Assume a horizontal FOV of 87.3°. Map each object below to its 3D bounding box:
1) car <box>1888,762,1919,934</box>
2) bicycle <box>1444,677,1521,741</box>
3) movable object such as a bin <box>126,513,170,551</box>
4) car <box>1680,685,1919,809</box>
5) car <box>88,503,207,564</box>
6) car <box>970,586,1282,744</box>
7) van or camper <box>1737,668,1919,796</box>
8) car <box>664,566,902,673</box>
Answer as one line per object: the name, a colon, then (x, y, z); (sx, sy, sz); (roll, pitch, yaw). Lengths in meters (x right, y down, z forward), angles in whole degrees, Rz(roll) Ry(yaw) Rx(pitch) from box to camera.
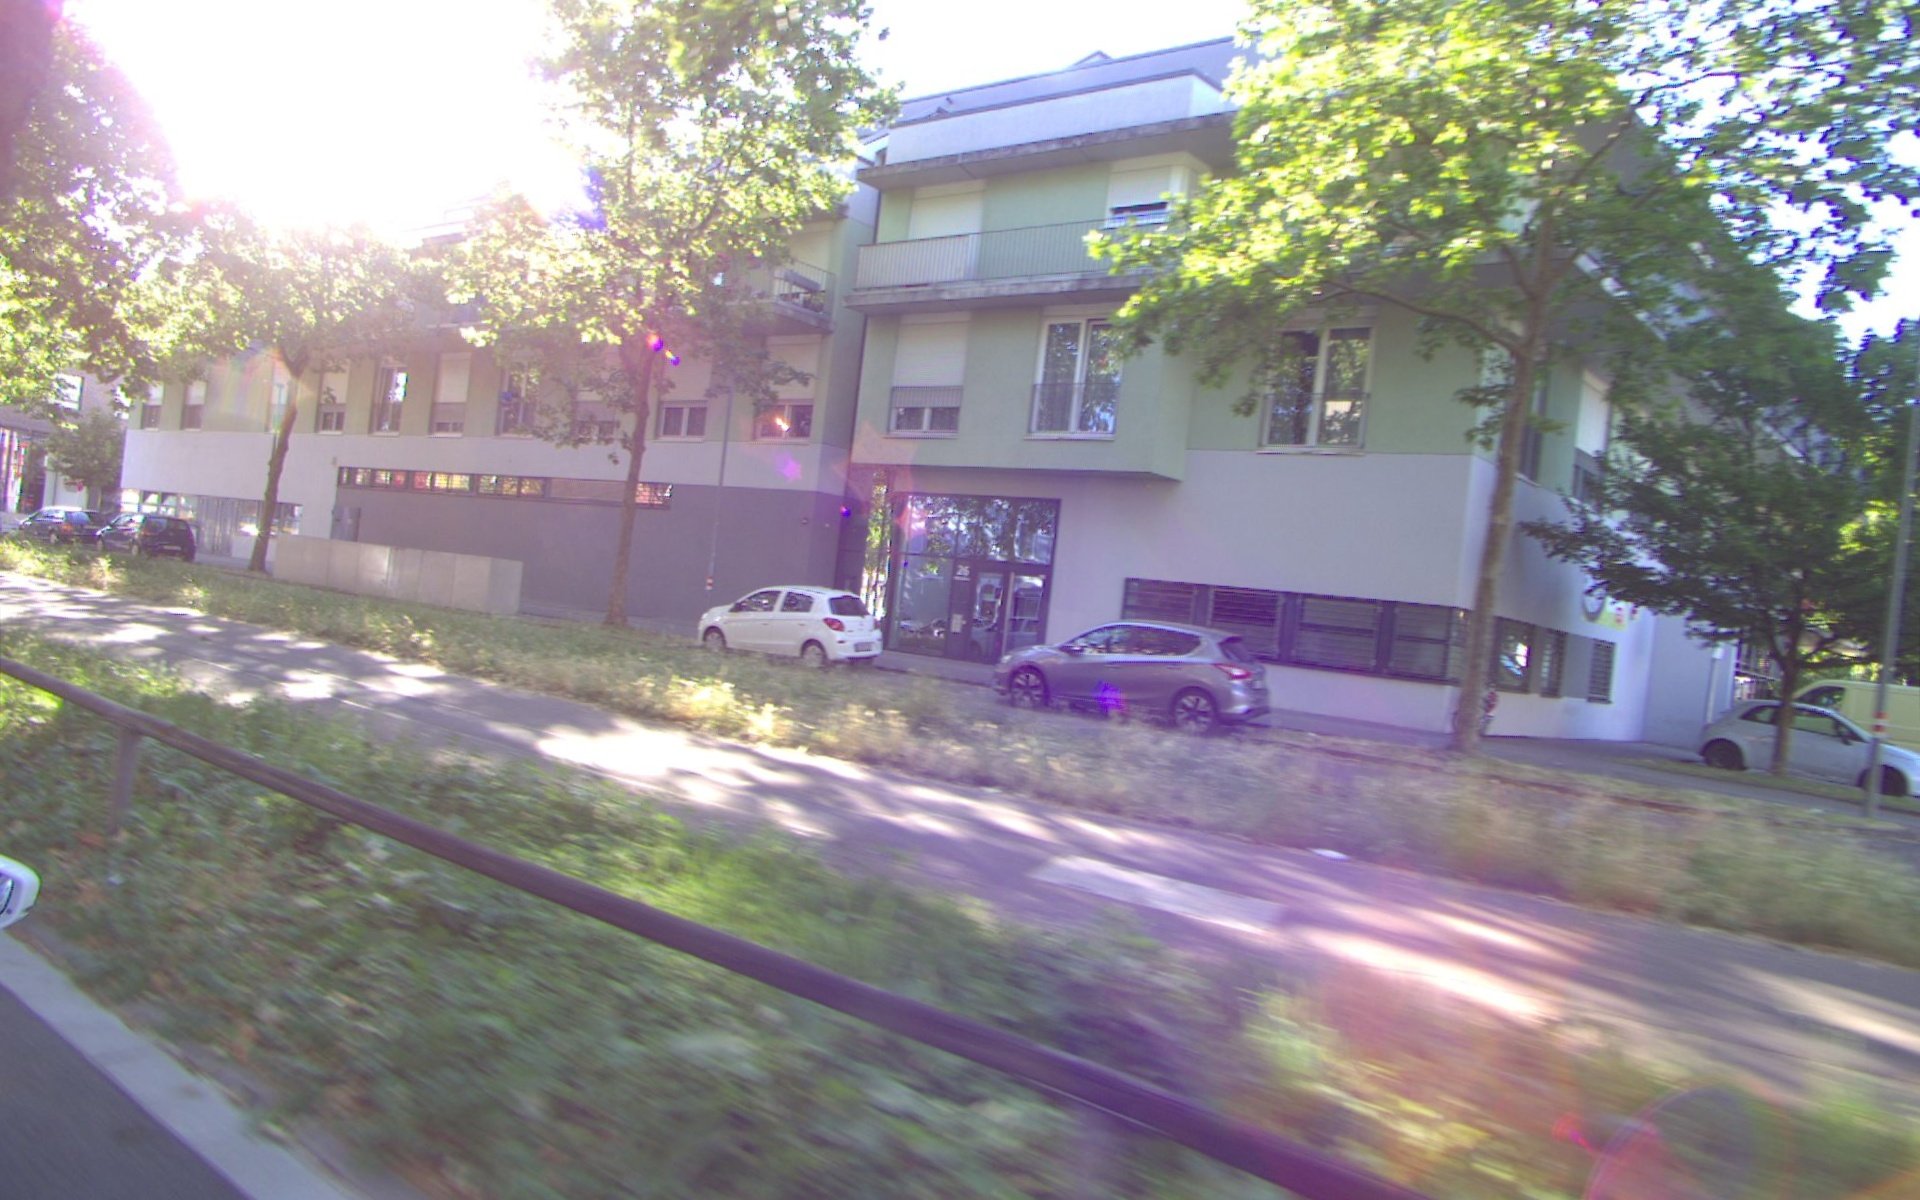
car: (10.885, 2.527, 8.158); (4.442, 1.563, 1.846); (7, -2, 24)
bicycle: (9.441, 1.978, 18.152); (1.668, 1.030, 0.582); (7, 0, -41)
movable object such as a bin: (-35.348, -2.968, 43.801); (1.388, 1.481, 1.191); (6, 0, 42)
car: (15.823, 2.675, 18.747); (1.665, 1.473, 3.513); (7, 2, -43)
car: (-27.276, -2.238, 33.746); (3.696, 1.572, 1.862); (6, 0, 31)
car: (2.545, 0.940, 15.660); (4.247, 1.793, 1.907); (6, 0, 31)
van or camper: (20.338, 2.953, 21.582); (2.249, 2.275, 5.309); (7, 0, -41)
car: (-3.480, 0.363, 19.561); (4.247, 1.562, 1.862); (6, 0, 31)
